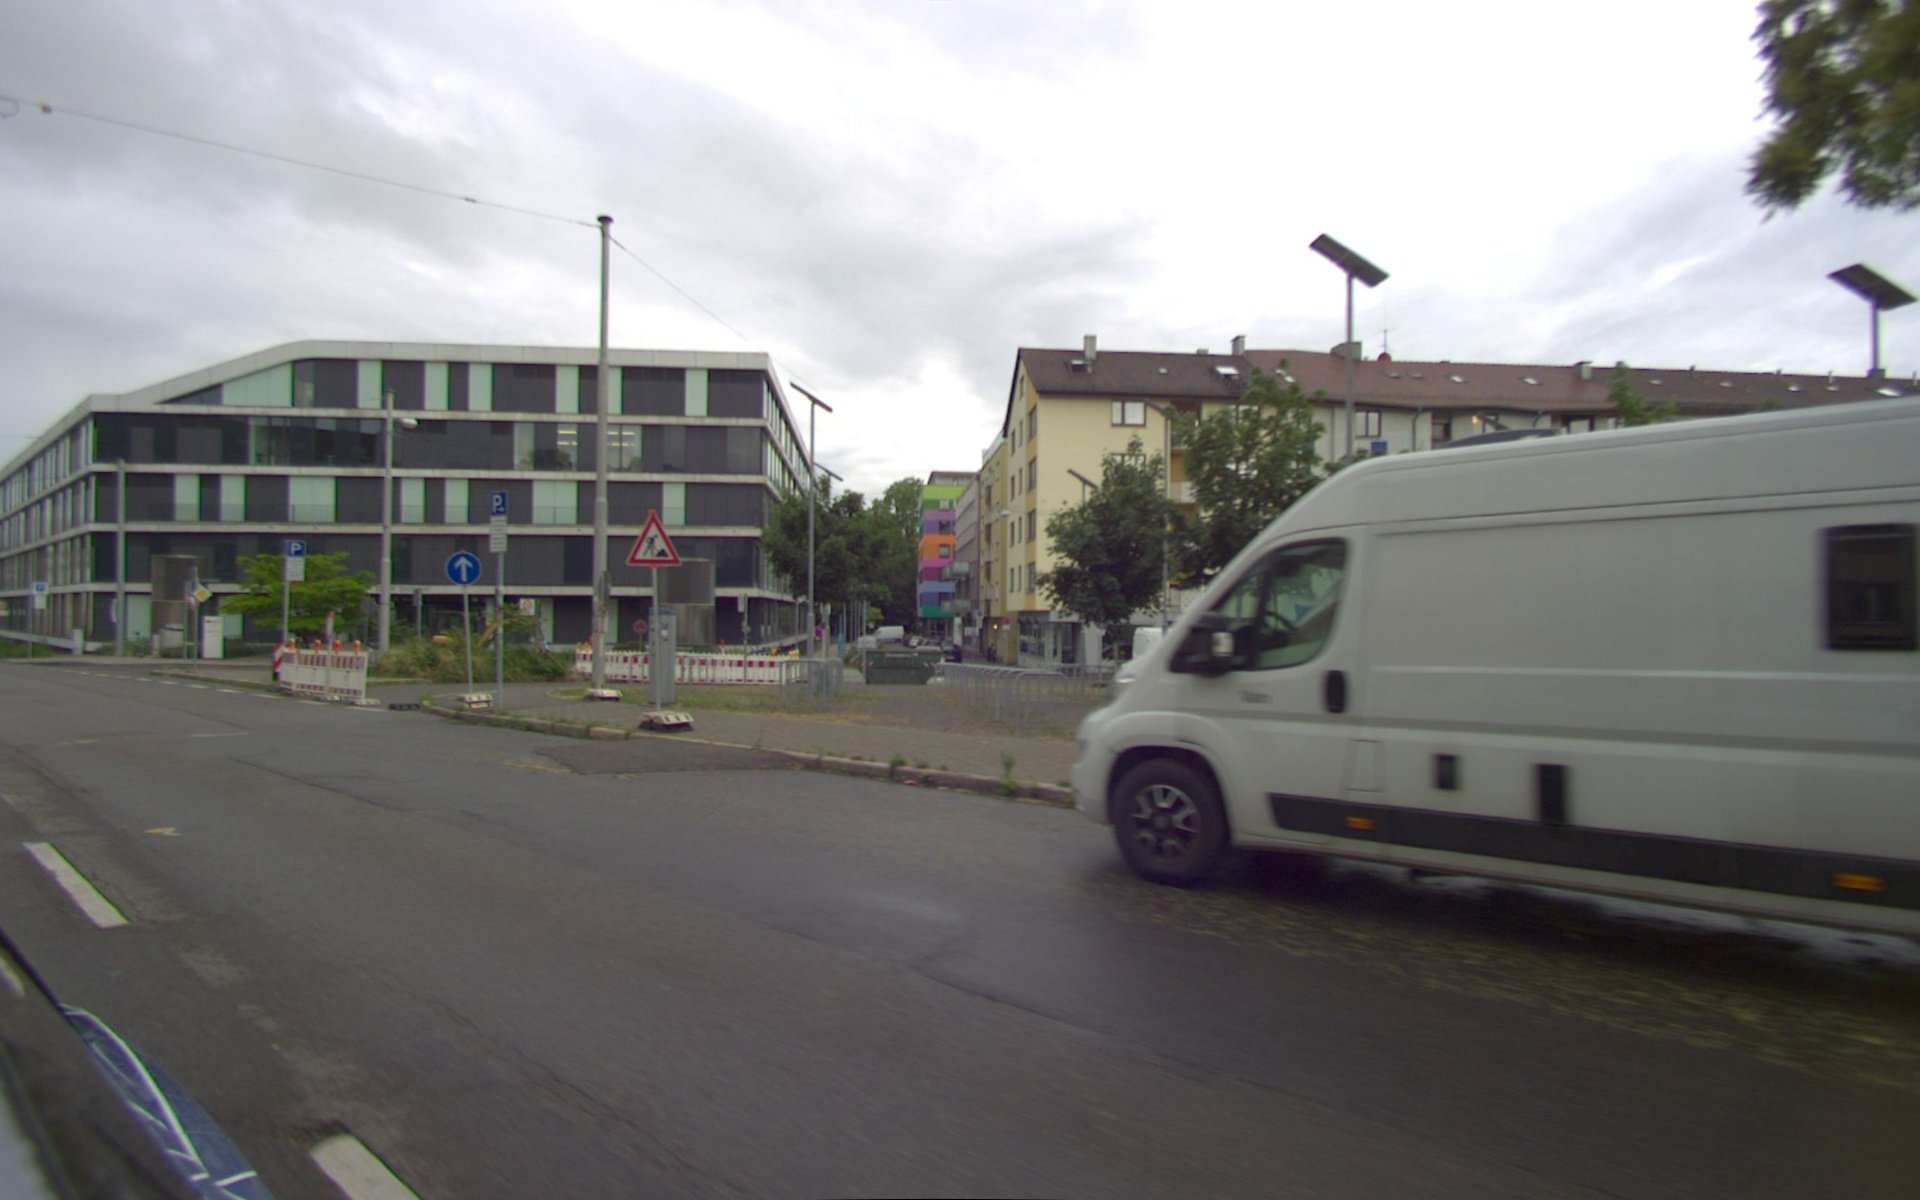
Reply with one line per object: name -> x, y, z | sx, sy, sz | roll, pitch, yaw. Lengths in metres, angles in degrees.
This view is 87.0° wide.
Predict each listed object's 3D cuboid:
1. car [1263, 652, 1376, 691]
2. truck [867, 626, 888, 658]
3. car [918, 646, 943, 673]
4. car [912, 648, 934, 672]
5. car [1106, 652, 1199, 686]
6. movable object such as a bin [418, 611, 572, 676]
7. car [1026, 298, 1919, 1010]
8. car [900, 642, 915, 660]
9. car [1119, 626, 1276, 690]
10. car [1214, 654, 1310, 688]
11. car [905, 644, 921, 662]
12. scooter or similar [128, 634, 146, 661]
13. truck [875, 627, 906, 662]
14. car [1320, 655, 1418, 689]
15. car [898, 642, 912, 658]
car -> 14.803, 2.956, 41.791 | 3.939, 1.522, 1.802 | 1, -4, -5
truck -> -11.890, 6.088, 145.983 | 2.954, 4.396, 8.008 | 1, -4, -5
car -> -2.449, 4.951, 83.706 | 1.773, 2.170, 4.004 | 1, -4, -5
car -> -3.346, 5.449, 91.680 | 1.773, 2.170, 4.004 | 1, -4, -5
car -> 9.063, 3.251, 47.712 | 3.938, 1.522, 1.802 | 1, -4, -6
movable object such as a bin -> -17.981, 1.669, 39.256 | 5.217, 2.478, 1.670 | 0, -2, 2
car -> 3.610, 0.253, 5.055 | 6.533, 2.599, 2.207 | -2, -4, 41
car -> -6.778, 6.631, 130.926 | 1.773, 2.170, 4.004 | 1, -4, -5
car -> 9.645, 2.392, 41.448 | 5.643, 2.432, 2.678 | 2, -4, -7
car -> 14.374, 3.368, 48.282 | 3.939, 1.522, 1.802 | 1, -4, -5
car -> -5.633, 6.330, 120.782 | 1.773, 2.170, 4.004 | 1, -4, -5
scooter or similar -> -39.900, 2.289, 49.073 | 1.231, 1.258, 0.491 | -1, -1, 43
truck -> -11.415, 7.379, 164.126 | 4.749, 5.440, 13.917 | 1, -4, -5
car -> 19.632, 3.477, 48.664 | 3.938, 1.522, 1.802 | 1, -4, -6
car -> -7.703, 6.959, 141.879 | 1.773, 2.170, 4.004 | 1, -4, -5
